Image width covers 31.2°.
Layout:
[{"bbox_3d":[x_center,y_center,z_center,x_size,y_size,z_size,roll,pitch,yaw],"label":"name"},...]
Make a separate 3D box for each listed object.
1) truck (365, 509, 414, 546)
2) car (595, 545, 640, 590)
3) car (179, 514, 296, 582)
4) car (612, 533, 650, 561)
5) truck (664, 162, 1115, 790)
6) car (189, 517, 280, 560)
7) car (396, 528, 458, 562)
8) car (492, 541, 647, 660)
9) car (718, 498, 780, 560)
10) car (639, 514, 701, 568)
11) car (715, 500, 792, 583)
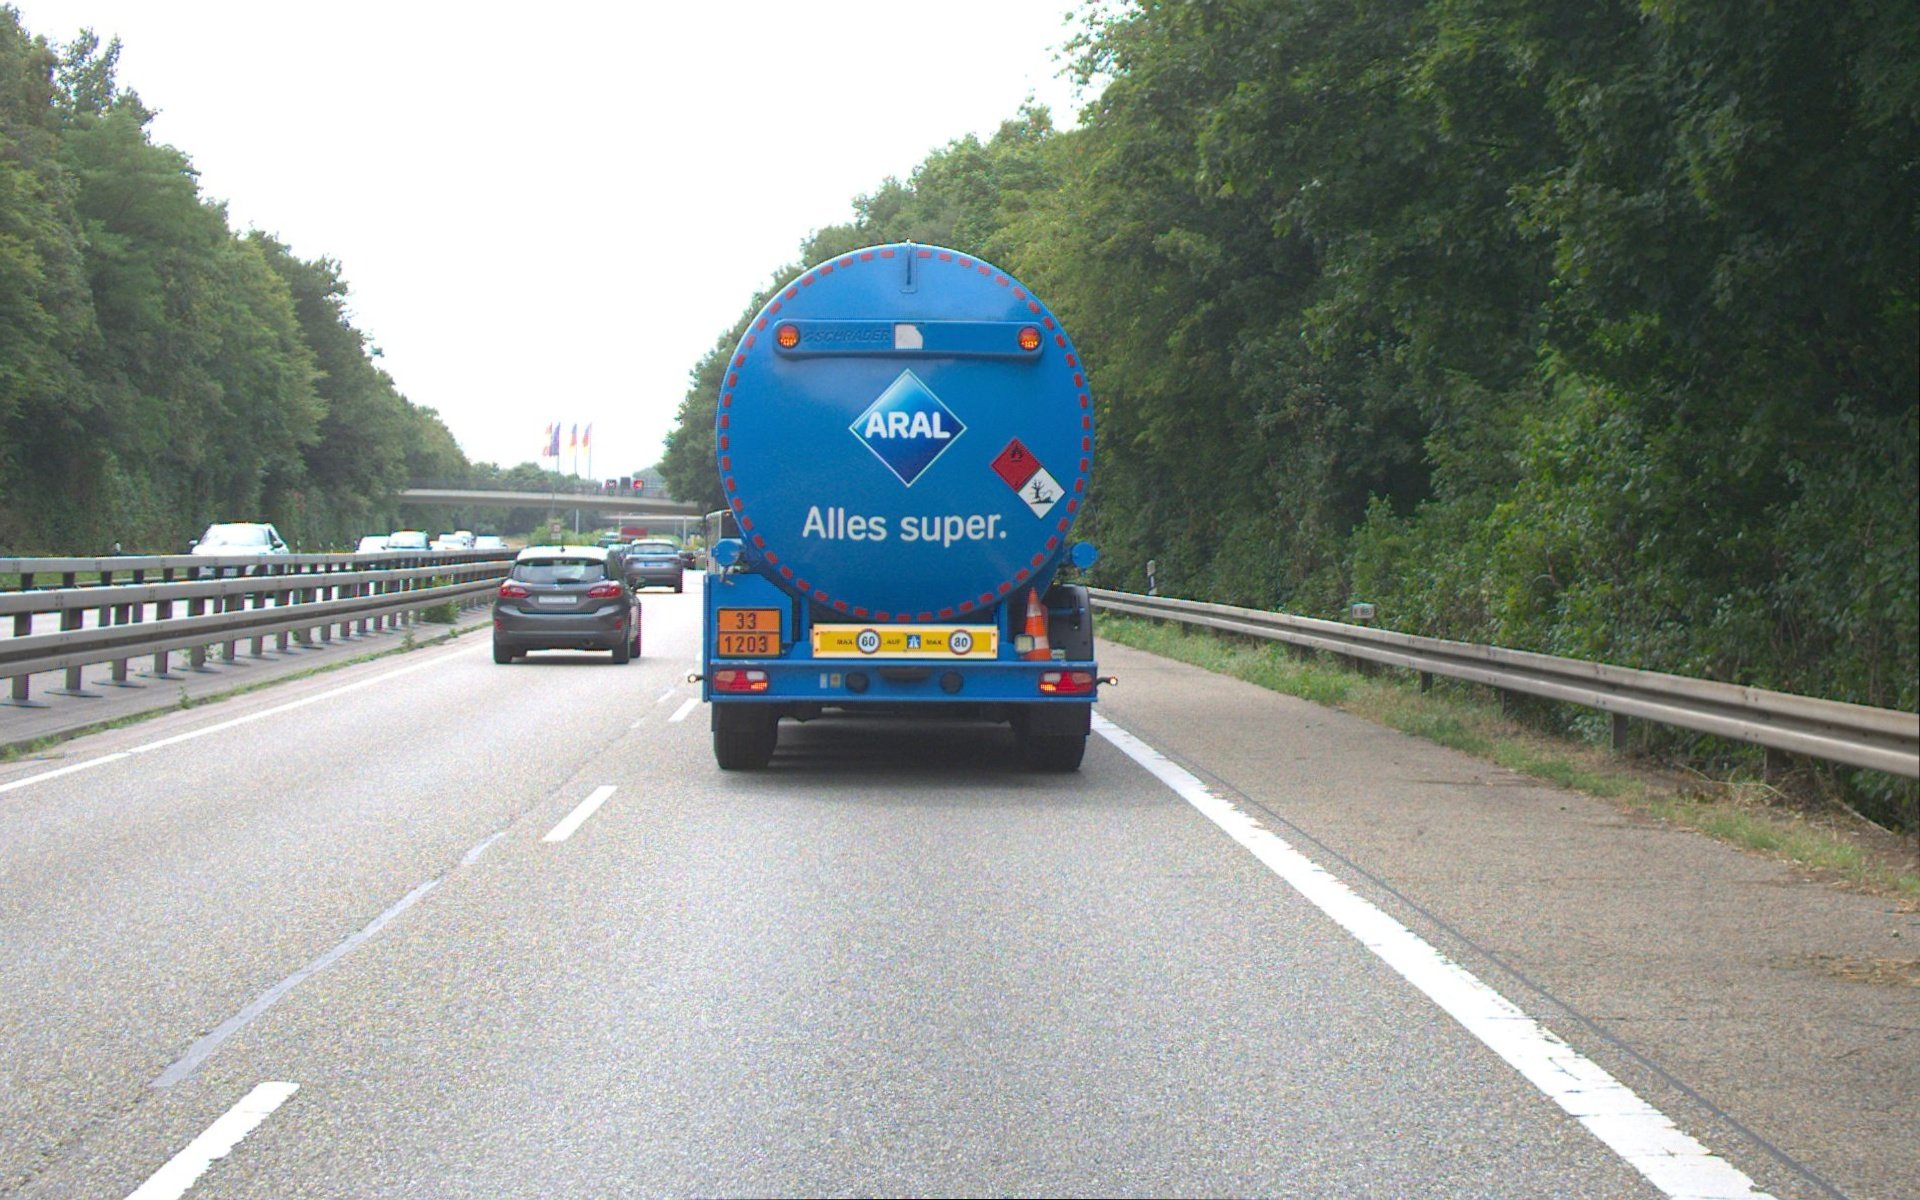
[{"bbox_3d":[-26.959,-3.420,162.543,1.993,1.733,4.001,0,1,-5],"label":"truck"},{"bbox_3d":[-15.580,-1.496,156.407,1.993,2.007,4.001,0,1,-6],"label":"car"},{"bbox_3d":[-15.087,-1.093,71.950,1.643,1.384,4.291,0,1,-2],"label":"car"},{"bbox_3d":[-18.718,-3.010,195.684,1.955,1.562,4.001,0,1,-2],"label":"car"},{"bbox_3d":[-0.444,-0.844,24.855,2.755,3.833,7.689,0,1,0],"label":"truck"},{"bbox_3d":[-20.202,-1.715,95.853,1.742,1.185,4.291,0,1,-1],"label":"car"},{"bbox_3d":[-18.705,-1.928,120.769,1.742,1.185,4.291,0,1,-3],"label":"car"},{"bbox_3d":[-4.983,-0.028,44.392,1.826,1.453,4.640,0,1,-4],"label":"car"},{"bbox_3d":[-7.833,-2.635,127.918,1.993,2.237,4.000,0,1,1],"label":"car"},{"bbox_3d":[-8.799,-1.780,104.031,1.826,1.604,4.168,0,1,-5],"label":"car"},{"bbox_3d":[-5.640,-1.604,94.289,1.993,2.213,4.000,0,1,-2],"label":"car"}]
